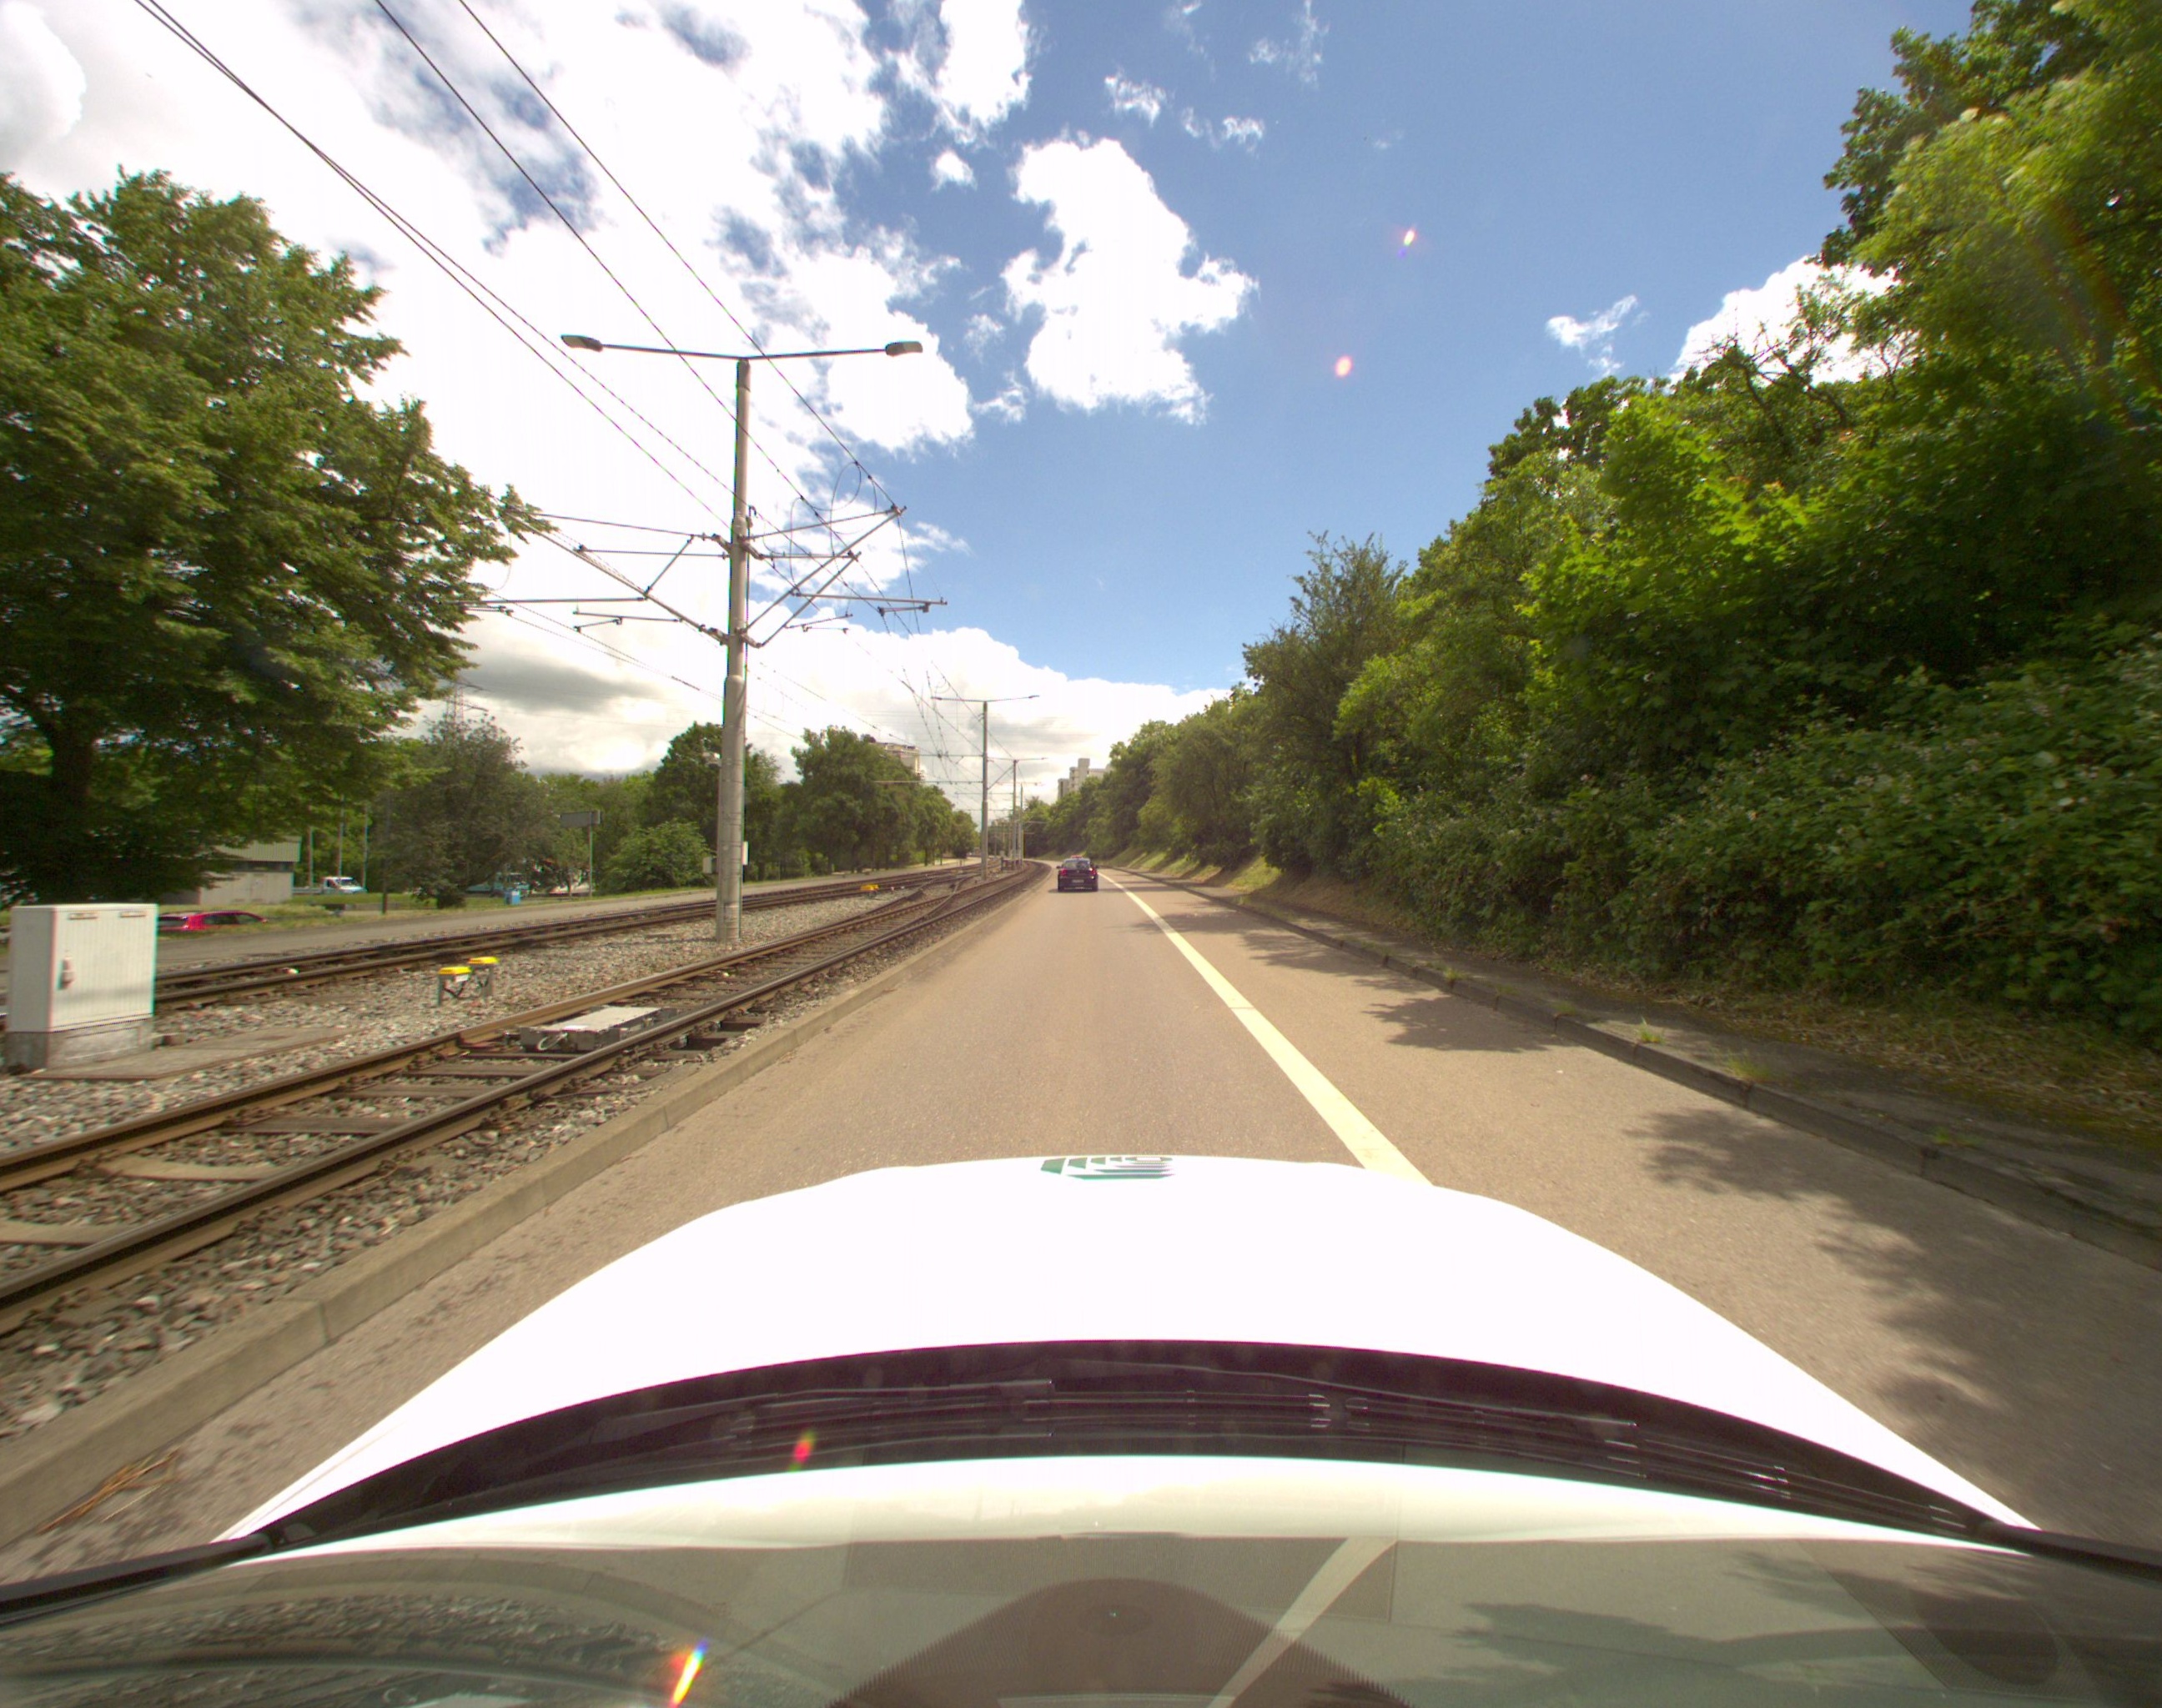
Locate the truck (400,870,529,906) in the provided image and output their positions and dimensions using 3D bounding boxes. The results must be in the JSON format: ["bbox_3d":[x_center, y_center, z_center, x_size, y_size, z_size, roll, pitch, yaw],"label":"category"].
[{"bbox_3d":[-53.401,2.917,70.652,9.061,2.695,2.615,-2,0,0],"label":"truck"}]

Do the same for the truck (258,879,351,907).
[{"bbox_3d":[-67.149,3.366,70.477,5.814,2.178,1.998,-2,0,-3],"label":"truck"}]

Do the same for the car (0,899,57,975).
[{"bbox_3d":[-27.084,2.049,18.765,1.808,1.772,4.003,-1,0,3],"label":"car"}]

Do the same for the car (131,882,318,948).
[{"bbox_3d":[-27.682,1.904,26.539,1.810,1.772,3.999,-1,0,-1],"label":"car"}]

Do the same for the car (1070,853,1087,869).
[{"bbox_3d":[-0.278,0.657,80.675,1.620,1.443,3.419,1,1,-1],"label":"car"}]

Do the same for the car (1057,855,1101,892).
[{"bbox_3d":[-0.043,0.828,35.634,1.701,1.460,3.962,2,-1,2],"label":"car"}]
